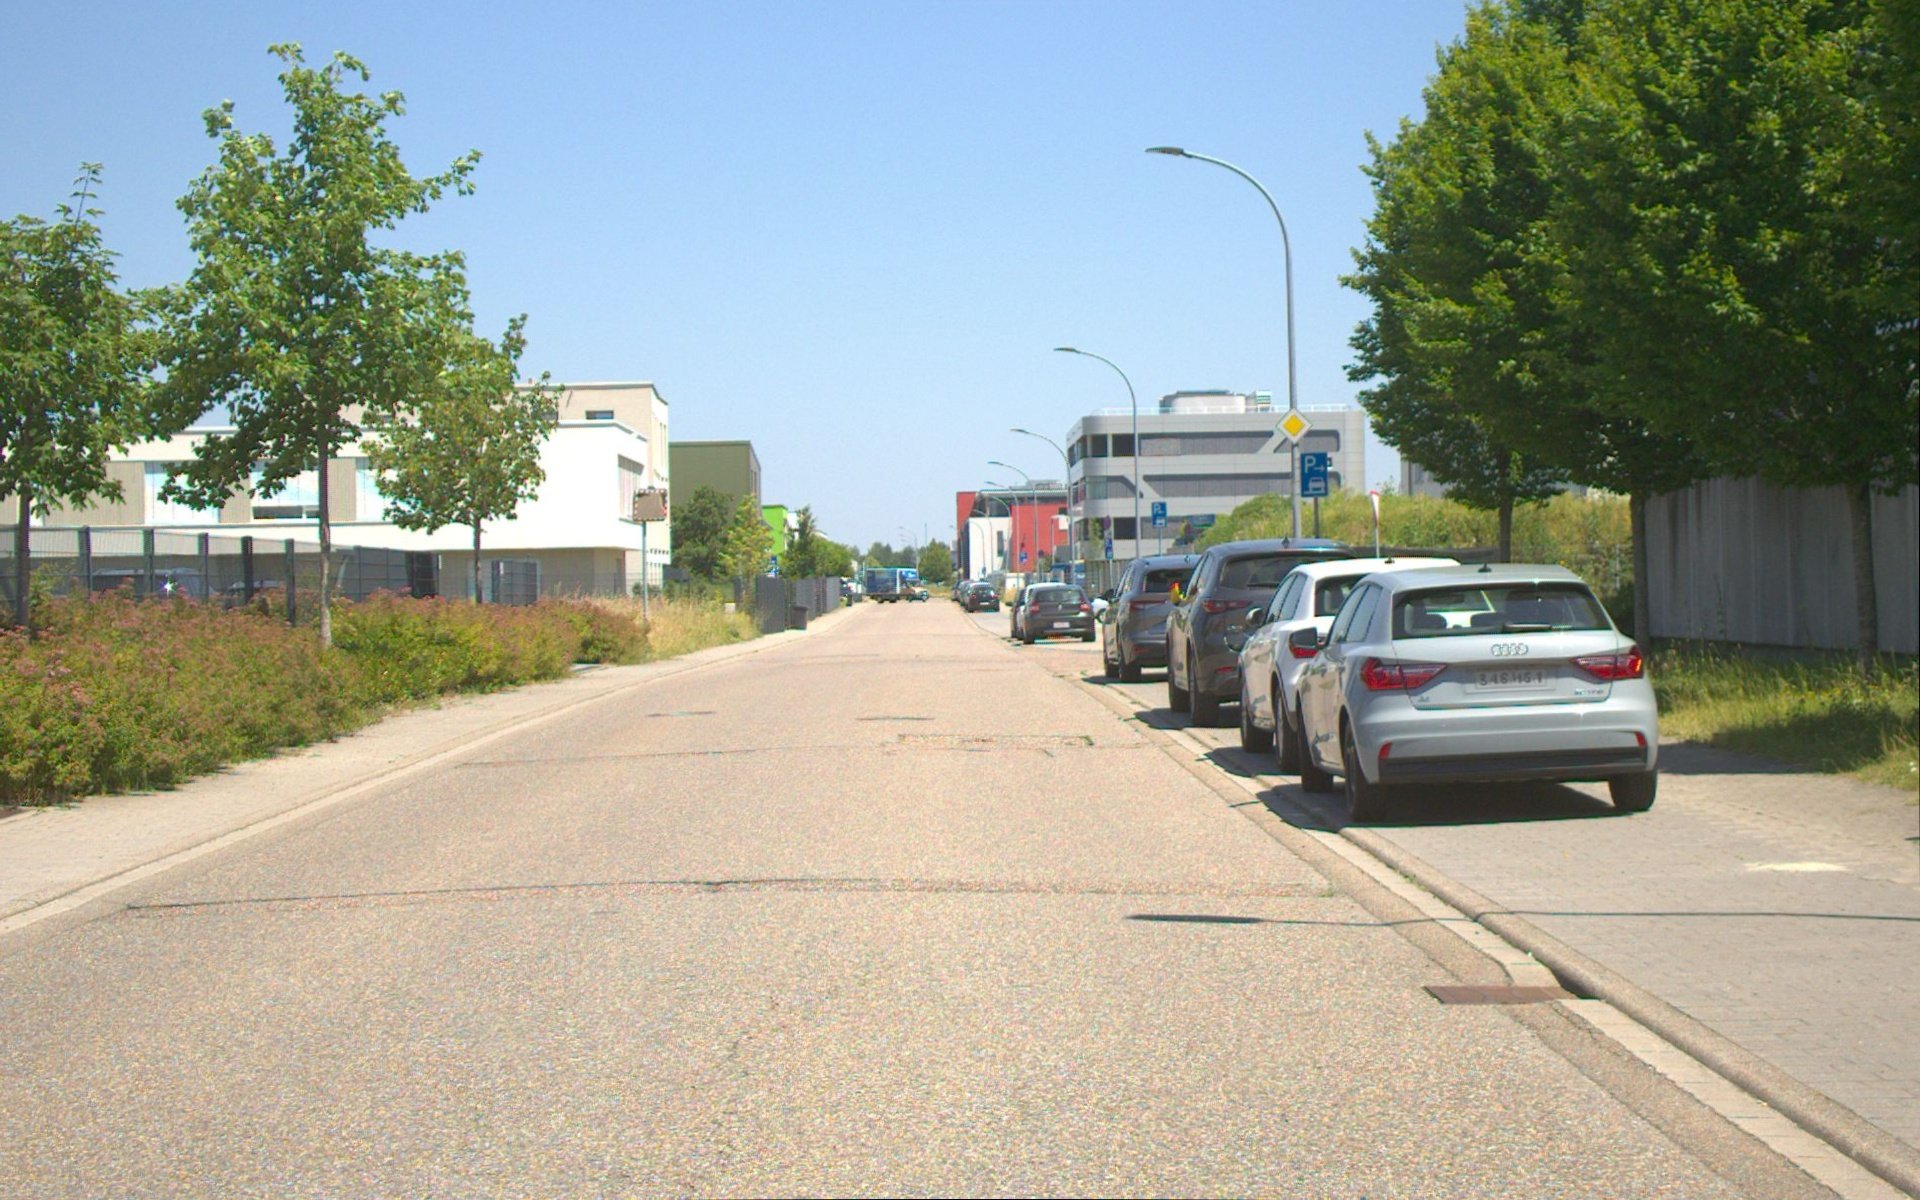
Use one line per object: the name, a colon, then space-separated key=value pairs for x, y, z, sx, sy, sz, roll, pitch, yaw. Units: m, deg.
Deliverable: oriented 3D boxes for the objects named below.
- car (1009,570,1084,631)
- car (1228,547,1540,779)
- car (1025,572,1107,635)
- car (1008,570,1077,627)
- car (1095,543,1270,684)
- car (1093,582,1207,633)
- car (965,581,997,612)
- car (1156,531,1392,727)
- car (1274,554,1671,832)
car: x=2.381 y=0.008 z=93.761 sx=1.908 sy=1.541 sz=4.000 roll=-3 pitch=0 yaw=2
car: x=3.017 y=0.400 z=25.200 sx=1.716 sy=1.476 sz=4.031 roll=-3 pitch=1 yaw=0
car: x=2.624 y=0.075 z=84.842 sx=1.908 sy=1.443 sz=4.000 roll=-3 pitch=0 yaw=2
car: x=2.417 y=-0.060 z=100.181 sx=1.908 sy=1.541 sz=4.000 roll=-3 pitch=0 yaw=2
car: x=2.867 y=0.144 z=45.265 sx=1.803 sy=1.656 sz=4.608 roll=-3 pitch=1 yaw=-1
car: x=7.853 y=0.303 z=142.413 sx=4.625 sy=2.007 sz=2.606 roll=1 pitch=0 yaw=3
car: x=1.187 y=-0.191 z=195.701 sx=1.776 sy=1.722 sz=4.000 roll=1 pitch=0 yaw=0
car: x=2.886 y=0.231 z=32.448 sx=1.757 sy=1.657 sz=4.363 roll=-2 pitch=1 yaw=0
car: x=2.958 y=0.481 z=20.617 sx=1.716 sy=1.418 sz=3.951 roll=-3 pitch=1 yaw=0
